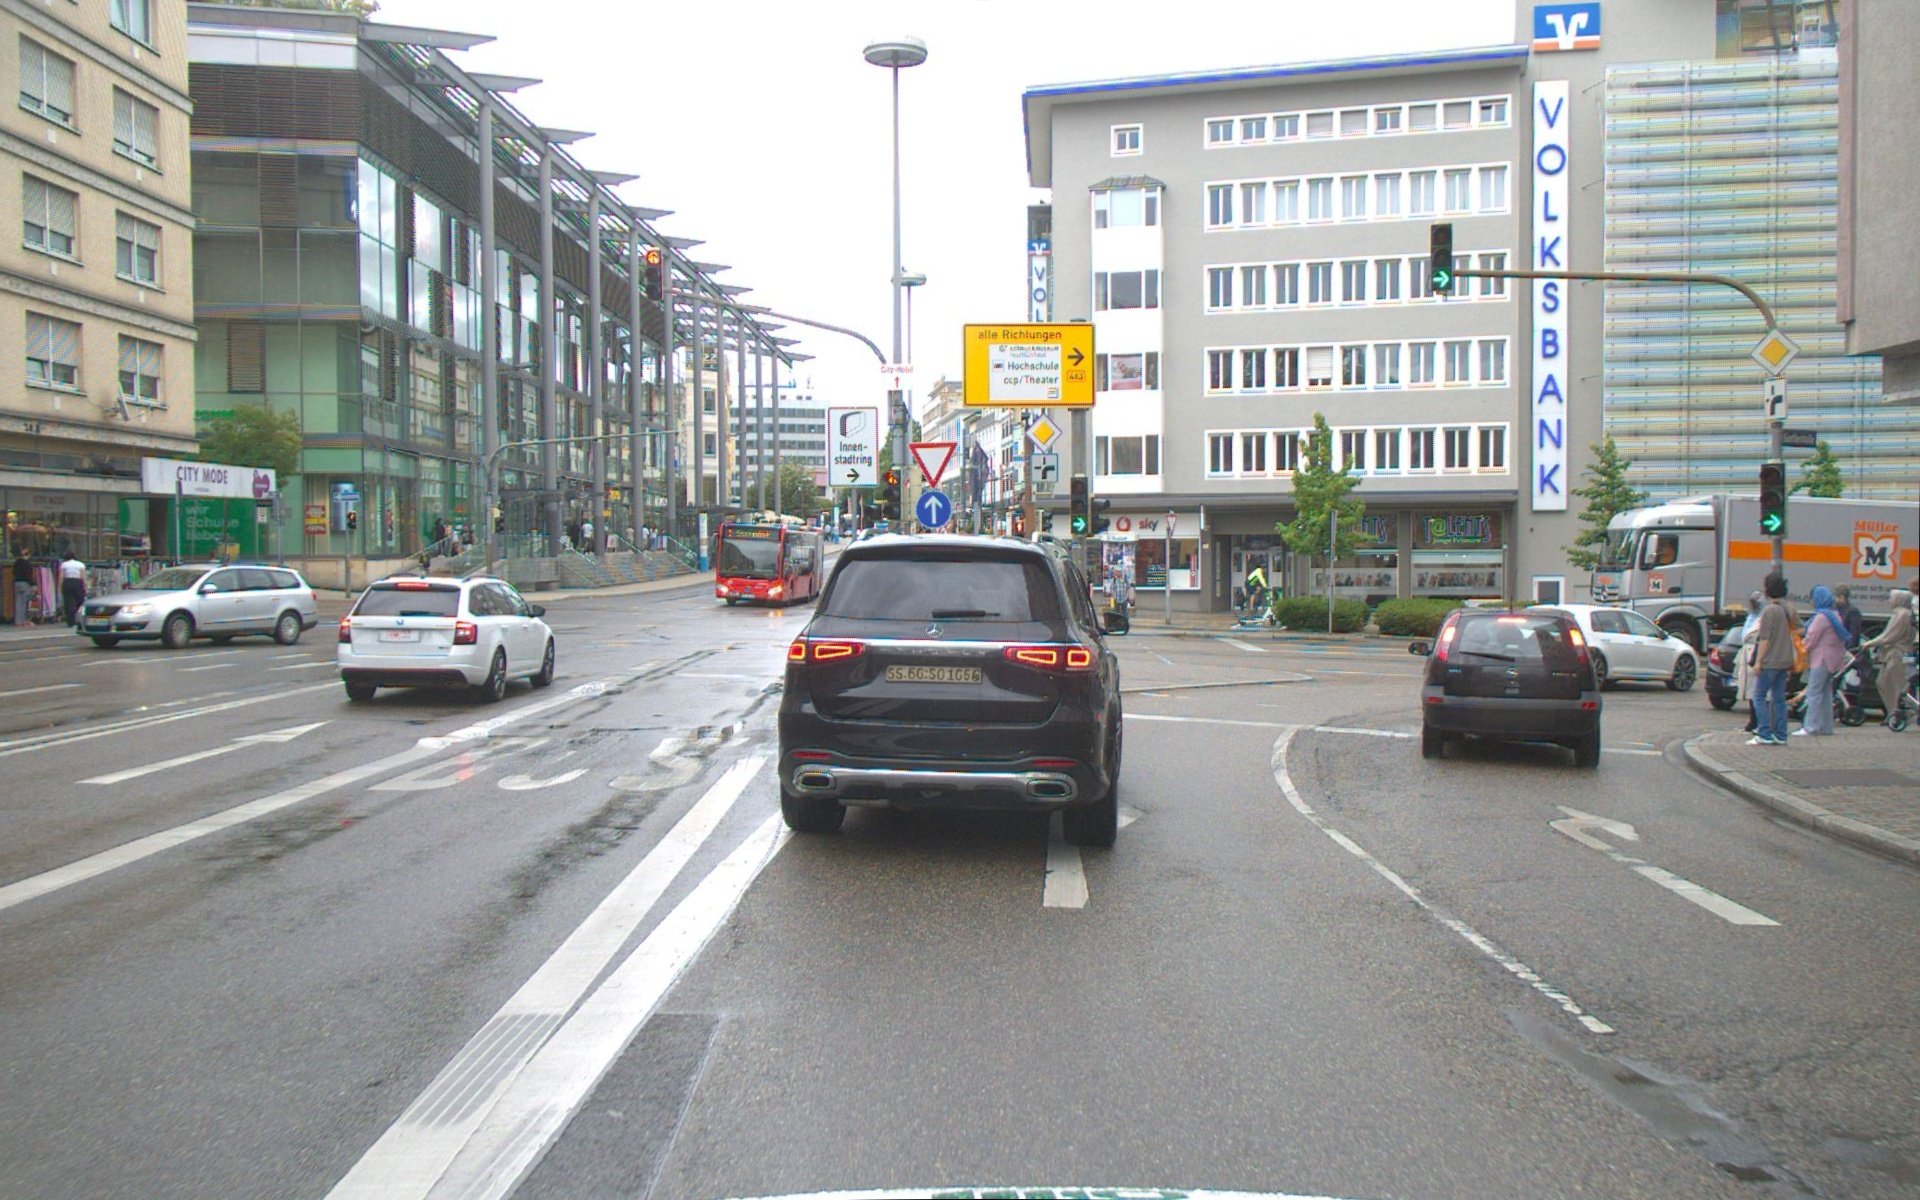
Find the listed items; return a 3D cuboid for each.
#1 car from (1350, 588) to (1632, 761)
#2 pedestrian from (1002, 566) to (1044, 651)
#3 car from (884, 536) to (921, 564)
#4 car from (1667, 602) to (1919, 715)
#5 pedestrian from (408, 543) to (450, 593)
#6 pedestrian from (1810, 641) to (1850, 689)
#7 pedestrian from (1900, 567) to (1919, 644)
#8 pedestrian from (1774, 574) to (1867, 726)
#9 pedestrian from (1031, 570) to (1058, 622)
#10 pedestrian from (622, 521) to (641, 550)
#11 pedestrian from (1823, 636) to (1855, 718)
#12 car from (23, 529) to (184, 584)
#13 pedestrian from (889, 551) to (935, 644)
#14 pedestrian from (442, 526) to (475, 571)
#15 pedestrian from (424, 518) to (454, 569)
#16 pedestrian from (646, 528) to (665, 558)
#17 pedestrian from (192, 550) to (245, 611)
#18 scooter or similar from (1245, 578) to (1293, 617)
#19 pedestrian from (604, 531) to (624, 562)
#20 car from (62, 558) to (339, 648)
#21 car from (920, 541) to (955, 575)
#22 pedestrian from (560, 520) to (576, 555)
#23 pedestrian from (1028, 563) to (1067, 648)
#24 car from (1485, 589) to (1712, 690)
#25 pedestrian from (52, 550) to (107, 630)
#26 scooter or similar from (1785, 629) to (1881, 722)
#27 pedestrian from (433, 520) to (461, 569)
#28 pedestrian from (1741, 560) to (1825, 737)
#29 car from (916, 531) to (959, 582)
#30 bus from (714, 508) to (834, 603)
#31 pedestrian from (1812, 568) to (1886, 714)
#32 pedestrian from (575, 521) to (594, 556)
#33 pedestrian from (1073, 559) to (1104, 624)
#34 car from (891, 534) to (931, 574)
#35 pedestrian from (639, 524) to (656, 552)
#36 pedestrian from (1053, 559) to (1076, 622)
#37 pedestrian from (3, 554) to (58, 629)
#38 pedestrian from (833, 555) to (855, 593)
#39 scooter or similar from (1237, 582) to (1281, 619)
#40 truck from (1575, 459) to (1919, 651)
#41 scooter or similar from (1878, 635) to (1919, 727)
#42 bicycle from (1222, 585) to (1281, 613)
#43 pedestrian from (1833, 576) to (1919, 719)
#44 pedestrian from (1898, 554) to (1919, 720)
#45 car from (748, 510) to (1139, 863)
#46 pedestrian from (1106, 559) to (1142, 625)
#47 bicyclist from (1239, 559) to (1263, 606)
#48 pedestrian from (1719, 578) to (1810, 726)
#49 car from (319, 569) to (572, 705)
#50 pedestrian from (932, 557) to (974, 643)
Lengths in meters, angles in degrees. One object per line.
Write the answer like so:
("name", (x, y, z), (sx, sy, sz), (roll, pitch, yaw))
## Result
("car", (5.187, 0.656, 16.657), (1.681, 1.444, 3.771), (3, 0, 2))
("pedestrian", (1.155, 0.161, 30.221), (0.690, 1.514, 0.560), (2, 0, 4))
("car", (-3.872, -3.378, 112.464), (2.373, 1.811, 5.154), (2, 1, -1))
("car", (13.668, 0.895, 26.959), (3.944, 1.601, 1.938), (0, 3, -30))
("pedestrian", (-19.173, -1.157, 59.754), (1.019, 1.742, 1.006), (2, 1, 27))
("pedestrian", (11.014, 0.824, 20.940), (0.363, 0.581, 0.458), (-2, 0, 19))
("pedestrian", (11.000, 0.062, 19.028), (0.215, 0.862, 0.441), (3, 1, 20))
("pedestrian", (9.622, 0.569, 18.497), (0.732, 1.664, 0.593), (-4, -4, 41))
("pedestrian", (2.296, -0.114, 45.131), (0.618, 1.362, 0.587), (2, 1, -6))
("pedestrian", (-20.792, -4.081, 104.758), (1.019, 1.742, 1.006), (1, 1, -6))
("pedestrian", (11.367, 0.990, 21.383), (0.255, 1.017, 0.472), (-4, -1, 22))
("car", (-27.733, -1.410, 53.673), (4.205, 1.573, 1.801), (2, 1, -11))
("pedestrian", (-0.923, -0.050, 31.958), (0.767, 1.741, 0.707), (2, 0, 4))
("pedestrian", (-19.559, -2.008, 64.516), (1.019, 1.742, 1.006), (1, 1, -6))
("pedestrian", (-21.112, -2.280, 67.056), (0.863, 2.015, 0.975), (1, 1, -1))
("pedestrian", (-18.352, -3.434, 99.570), (1.019, 1.742, 1.006), (1, 1, -6))
("pedestrian", (-20.059, -0.524, 44.763), (0.853, 1.614, 1.155), (1, 1, 3))
("scooter or similar", (10.519, -0.092, 56.261), (1.466, 1.278, 0.931), (2, 1, 19))
("pedestrian", (-19.841, -3.073, 94.854), (1.019, 1.742, 1.006), (1, 1, -6))
("car", (-13.709, 0.001, 30.202), (1.748, 1.471, 4.755), (1, 1, 20))
("car", (-1.331, -2.426, 95.952), (1.824, 1.857, 4.102), (2, 1, -3))
("pedestrian", (-19.752, -3.160, 83.400), (0.667, 1.742, 0.849), (1, 1, -6))
("pedestrian", (1.703, 0.107, 32.076), (0.698, 1.595, 0.855), (2, 0, 4))
("car", (11.577, 0.669, 29.918), (3.954, 1.601, 1.933), (0, 3, -35))
("pedestrian", (-18.705, -0.209, 35.139), (0.839, 1.656, 0.762), (0, 1, -44))
("scooter or similar", (11.022, 0.952, 20.908), (0.949, 1.128, 0.655), (-2, 0, 19))
("pedestrian", (-21.085, -2.280, 68.029), (0.857, 2.015, 0.850), (1, 1, -1))
("pedestrian", (8.253, 0.480, 16.588), (0.615, 1.722, 0.779), (-2, -1, 35))
("car", (-1.458, -2.691, 102.508), (2.395, 3.009, 6.151), (2, 1, -2))
("bus", (-7.439, -1.783, 69.226), (2.860, 3.378, 18.480), (1, 1, 0))
("pedestrian", (11.885, 0.561, 22.138), (0.602, 1.900, 0.787), (-3, -4, 15))
("pedestrian", (-18.936, -3.107, 83.504), (0.811, 1.742, 0.801), (1, 1, -6))
("pedestrian", (3.503, -0.238, 45.060), (0.764, 1.718, 0.639), (2, 1, 8))
("car", (-4.542, -4.257, 154.410), (2.392, 3.525, 6.159), (2, 1, 10))
("pedestrian", (-19.837, -3.905, 104.898), (0.919, 1.742, 0.991), (1, 1, -6))
("pedestrian", (2.851, -0.257, 45.077), (0.557, 1.698, 0.502), (1, 1, 6))
("pedestrian", (-19.694, -0.183, 35.060), (0.769, 1.563, 0.681), (1, 1, -3))
("pedestrian", (-5.860, -1.322, 83.877), (0.934, 1.919, 0.811), (2, 1, 6))
("scooter or similar", (9.873, 0.012, 54.585), (1.351, 1.207, 0.544), (0, 1, 19))
("truck", (20.903, -1.079, 40.463), (10.511, 4.408, 2.857), (1, 1, 3))
("scooter or similar", (10.833, 0.880, 18.264), (0.754, 1.003, 1.048), (-1, -2, -1))
("bicycle", (10.776, -0.045, 61.198), (2.092, 1.010, 0.695), (1, 1, 14))
("pedestrian", (11.598, 0.582, 20.706), (1.013, 1.752, 0.839), (-1, 0, 16))
("pedestrian", (11.425, 0.411, 19.003), (0.818, 1.898, 0.658), (-2, -3, 4))
("car", (0.156, 0.372, 11.171), (2.043, 1.848, 4.797), (0, 2, 7))
("pedestrian", (4.579, -0.219, 46.210), (0.813, 1.809, 0.617), (2, 1, -6))
("bicyclist", (10.775, -0.641, 61.188), (0.826, 1.734, 0.623), (0, 1, 14))
("pedestrian", (9.338, 0.610, 19.214), (0.528, 1.666, 0.838), (-3, -3, -1))
("car", (-6.210, 0.369, 20.545), (1.756, 1.440, 4.631), (0, 2, -1))
("pedestrian", (-0.136, -0.002, 33.844), (0.740, 1.721, 0.694), (2, 0, 4))
